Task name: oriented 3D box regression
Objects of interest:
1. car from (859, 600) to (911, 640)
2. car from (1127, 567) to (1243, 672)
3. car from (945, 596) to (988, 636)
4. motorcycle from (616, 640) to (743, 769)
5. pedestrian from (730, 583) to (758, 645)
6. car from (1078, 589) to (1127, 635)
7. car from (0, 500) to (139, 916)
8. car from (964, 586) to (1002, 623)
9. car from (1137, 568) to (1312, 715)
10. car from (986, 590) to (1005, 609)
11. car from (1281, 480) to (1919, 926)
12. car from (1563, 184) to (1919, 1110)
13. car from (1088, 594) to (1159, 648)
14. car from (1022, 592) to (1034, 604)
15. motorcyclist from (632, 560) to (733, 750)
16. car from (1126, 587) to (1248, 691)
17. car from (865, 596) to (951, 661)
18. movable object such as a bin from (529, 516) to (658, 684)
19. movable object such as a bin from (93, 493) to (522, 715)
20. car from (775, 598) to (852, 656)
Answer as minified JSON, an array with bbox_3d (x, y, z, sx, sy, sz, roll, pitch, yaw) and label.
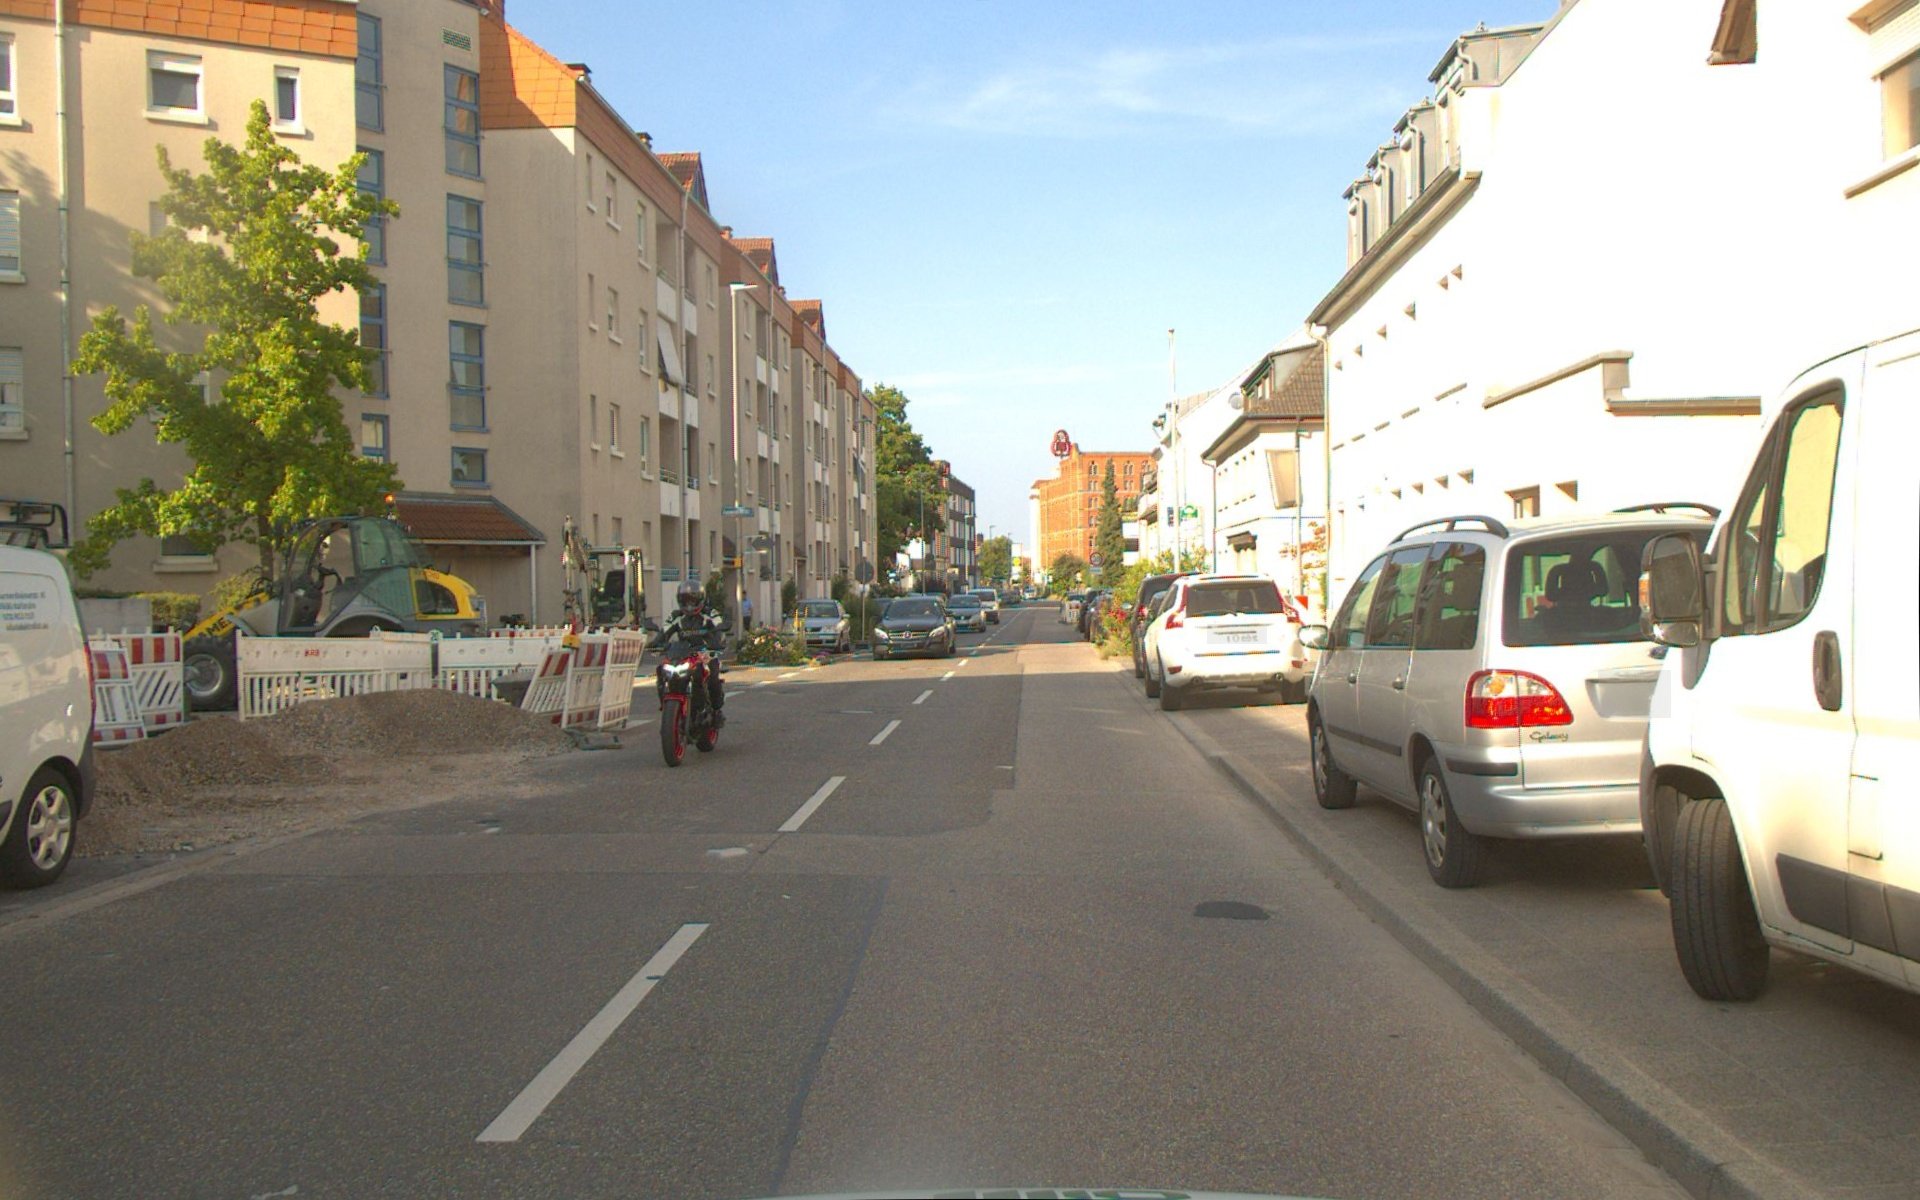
[{"bbox_3d":[-2.797,0.728,62.232,1.651,1.430,4.085,0,0,2],"label":"car"},{"bbox_3d":[4.452,0.336,33.338,2.032,1.888,4.613,-2,1,5],"label":"car"},{"bbox_3d":[0.287,0.602,65.431,1.584,1.480,3.686,-1,0,2],"label":"car"},{"bbox_3d":[-2.540,0.919,15.223,0.752,1.002,2.199,-2,0,0],"label":"motorcycle"},{"bbox_3d":[-6.559,0.419,50.173,0.703,1.850,0.745,0,0,3],"label":"pedestrian"},{"bbox_3d":[5.509,0.482,64.482,1.791,1.659,4.465,2,-1,4],"label":"car"},{"bbox_3d":[-5.427,0.528,7.062,1.692,1.995,4.438,0,1,-1],"label":"car"},{"bbox_3d":[1.222,0.215,85.792,1.882,1.798,4.339,-1,0,2],"label":"car"},{"bbox_3d":[3.431,0.479,22.193,1.774,1.713,4.478,-2,1,2],"label":"car"},{"bbox_3d":[3.870,-0.063,179.501,1.952,1.914,4.002,-1,0,3],"label":"car"},{"bbox_3d":[3.091,0.399,9.073,1.741,1.771,4.483,-2,1,0],"label":"car"},{"bbox_3d":[3.511,0.098,4.134,2.130,2.368,4.998,-2,1,0],"label":"car"},{"bbox_3d":[4.721,0.578,48.276,1.742,1.445,4.497,-1,0,2],"label":"car"},{"bbox_3d":[9.723,-0.273,235.810,1.727,1.644,4.001,-1,0,3],"label":"car"},{"bbox_3d":[-2.547,0.488,15.265,0.753,1.681,0.843,-2,0,-1],"label":"motorcyclist"},{"bbox_3d":[3.759,0.608,27.998,1.556,1.555,4.615,-2,0,2],"label":"car"},{"bbox_3d":[-1.209,0.650,39.934,1.792,1.445,4.210,-1,0,2],"label":"car"},{"bbox_3d":[-7.405,-0.023,33.750,1.613,3.193,3.901,-1,1,1],"label":"movable object such as a bin"},{"bbox_3d":[-9.109,0.039,23.637,5.401,2.951,2.105,0,1,-13],"label":"movable object such as a bin"},{"bbox_3d":[-3.848,0.683,43.953,1.606,1.420,3.672,-2,0,1],"label":"car"}]
